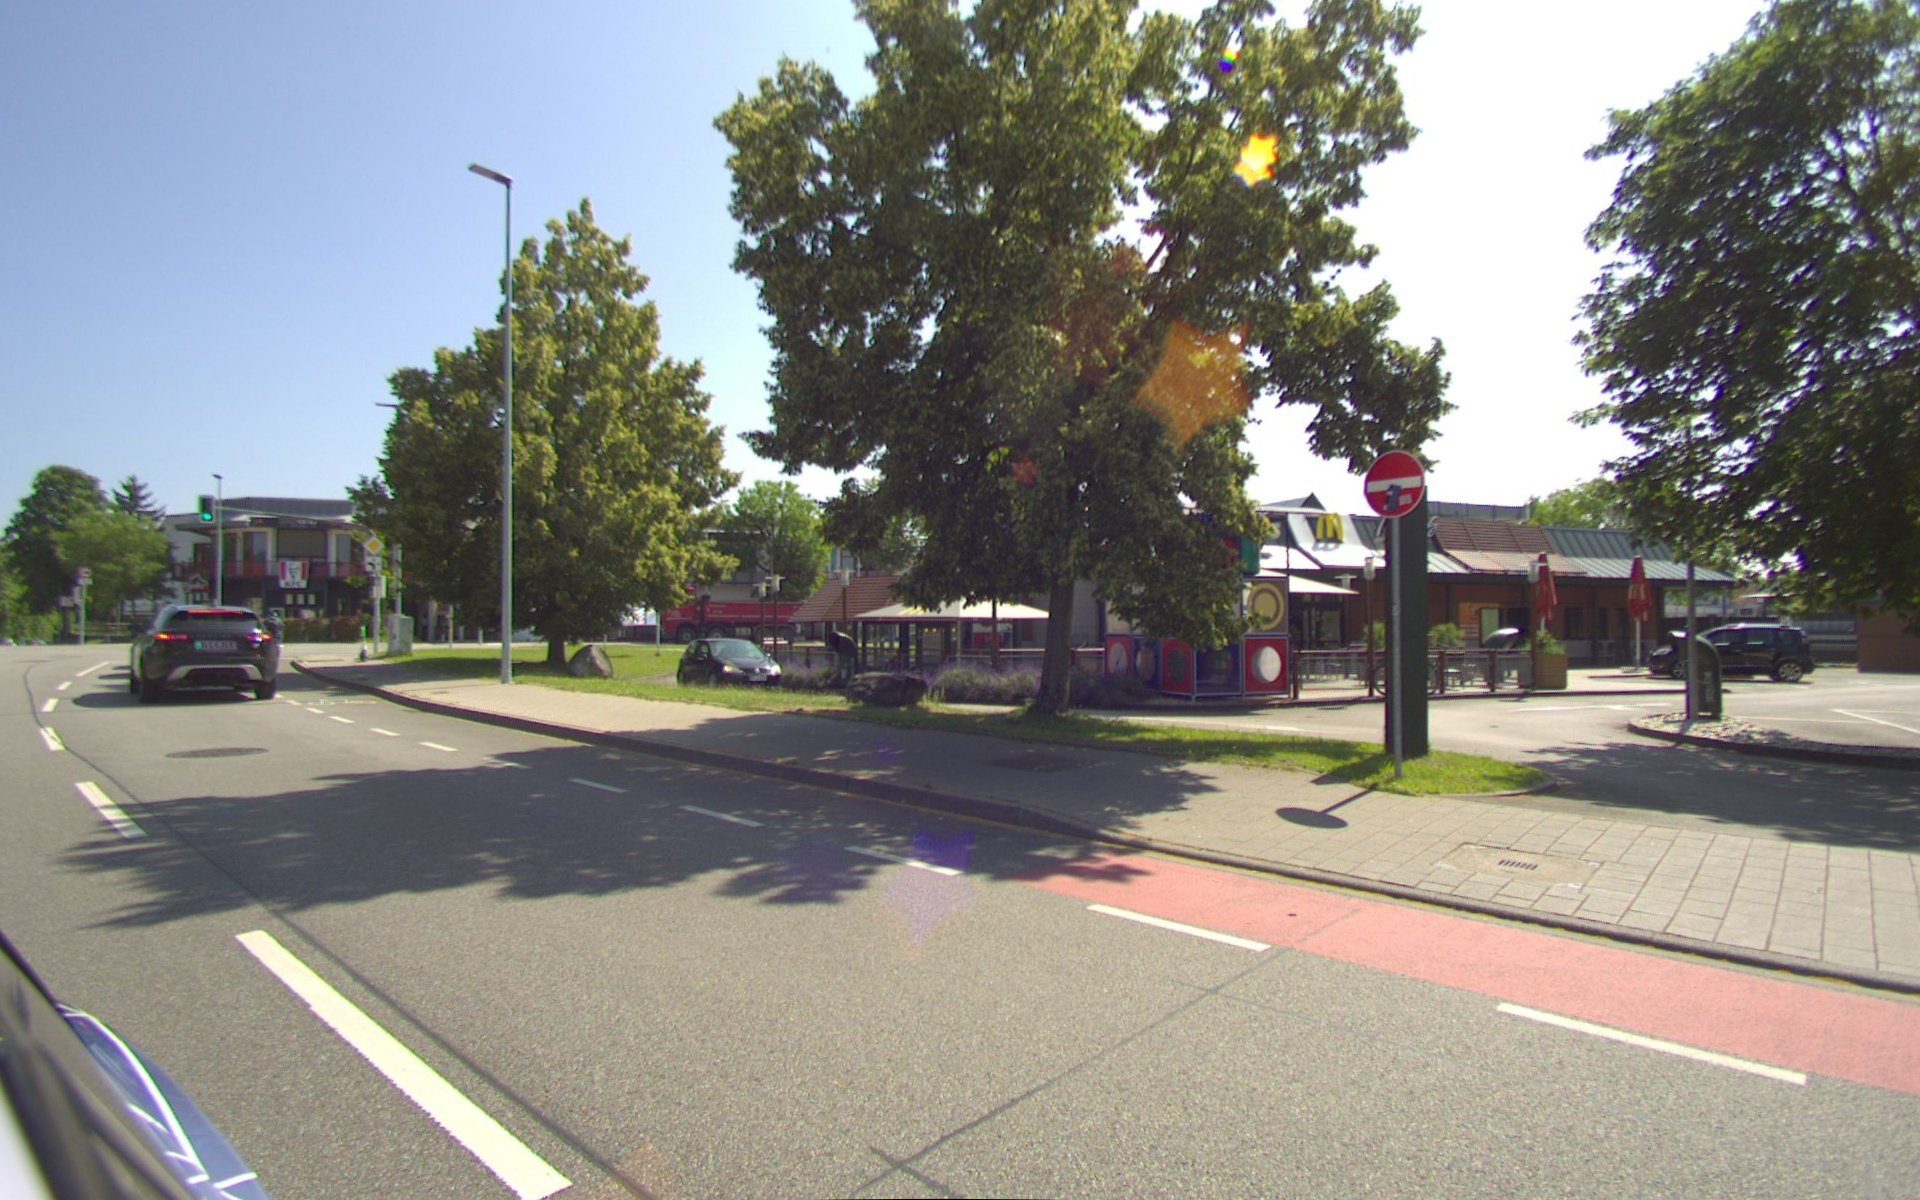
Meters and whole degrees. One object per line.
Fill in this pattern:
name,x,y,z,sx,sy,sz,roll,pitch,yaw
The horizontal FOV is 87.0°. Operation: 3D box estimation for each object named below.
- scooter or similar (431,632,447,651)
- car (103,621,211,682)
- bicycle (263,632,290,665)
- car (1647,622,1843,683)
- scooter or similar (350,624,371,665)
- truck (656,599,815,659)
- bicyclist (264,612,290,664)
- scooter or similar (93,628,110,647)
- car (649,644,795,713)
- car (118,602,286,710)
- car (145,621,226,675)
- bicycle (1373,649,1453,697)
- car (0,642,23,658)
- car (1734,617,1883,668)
scooter or similar,-31.628,2.536,61.441,0.492,1.132,1.508,1,-2,-13
car,-19.907,1.251,25.224,1.633,1.391,4.011,1,-2,-32
bicycle,-23.900,1.687,35.406,0.687,1.113,1.760,3,-3,-33
car,23.278,1.514,30.221,4.328,1.697,1.758,0,-2,28
scooter or similar,-17.941,1.328,30.262,0.465,1.193,1.369,2,-2,-33
truck,-13.565,1.760,61.200,9.009,3.412,3.325,1,-2,-21
bicyclist,-23.896,1.334,35.412,0.700,1.802,0.811,2,-2,-32
scooter or similar,-50.398,2.185,59.414,0.420,1.132,1.456,1,-2,-27
car,-6.134,1.920,25.800,1.837,1.564,4.193,2,-3,-42
car,-13.911,0.965,18.469,1.927,1.708,4.617,2,-3,-43
car,-23.229,1.408,30.500,1.756,1.508,4.733,2,-2,-36
bicycle,9.713,1.546,21.685,1.826,1.000,0.309,1,-2,-19
car,-102.077,5.401,108.751,1.646,1.544,4.008,-3,1,-38
car,38.756,1.931,46.373,1.965,2.194,4.819,1,-2,-26
